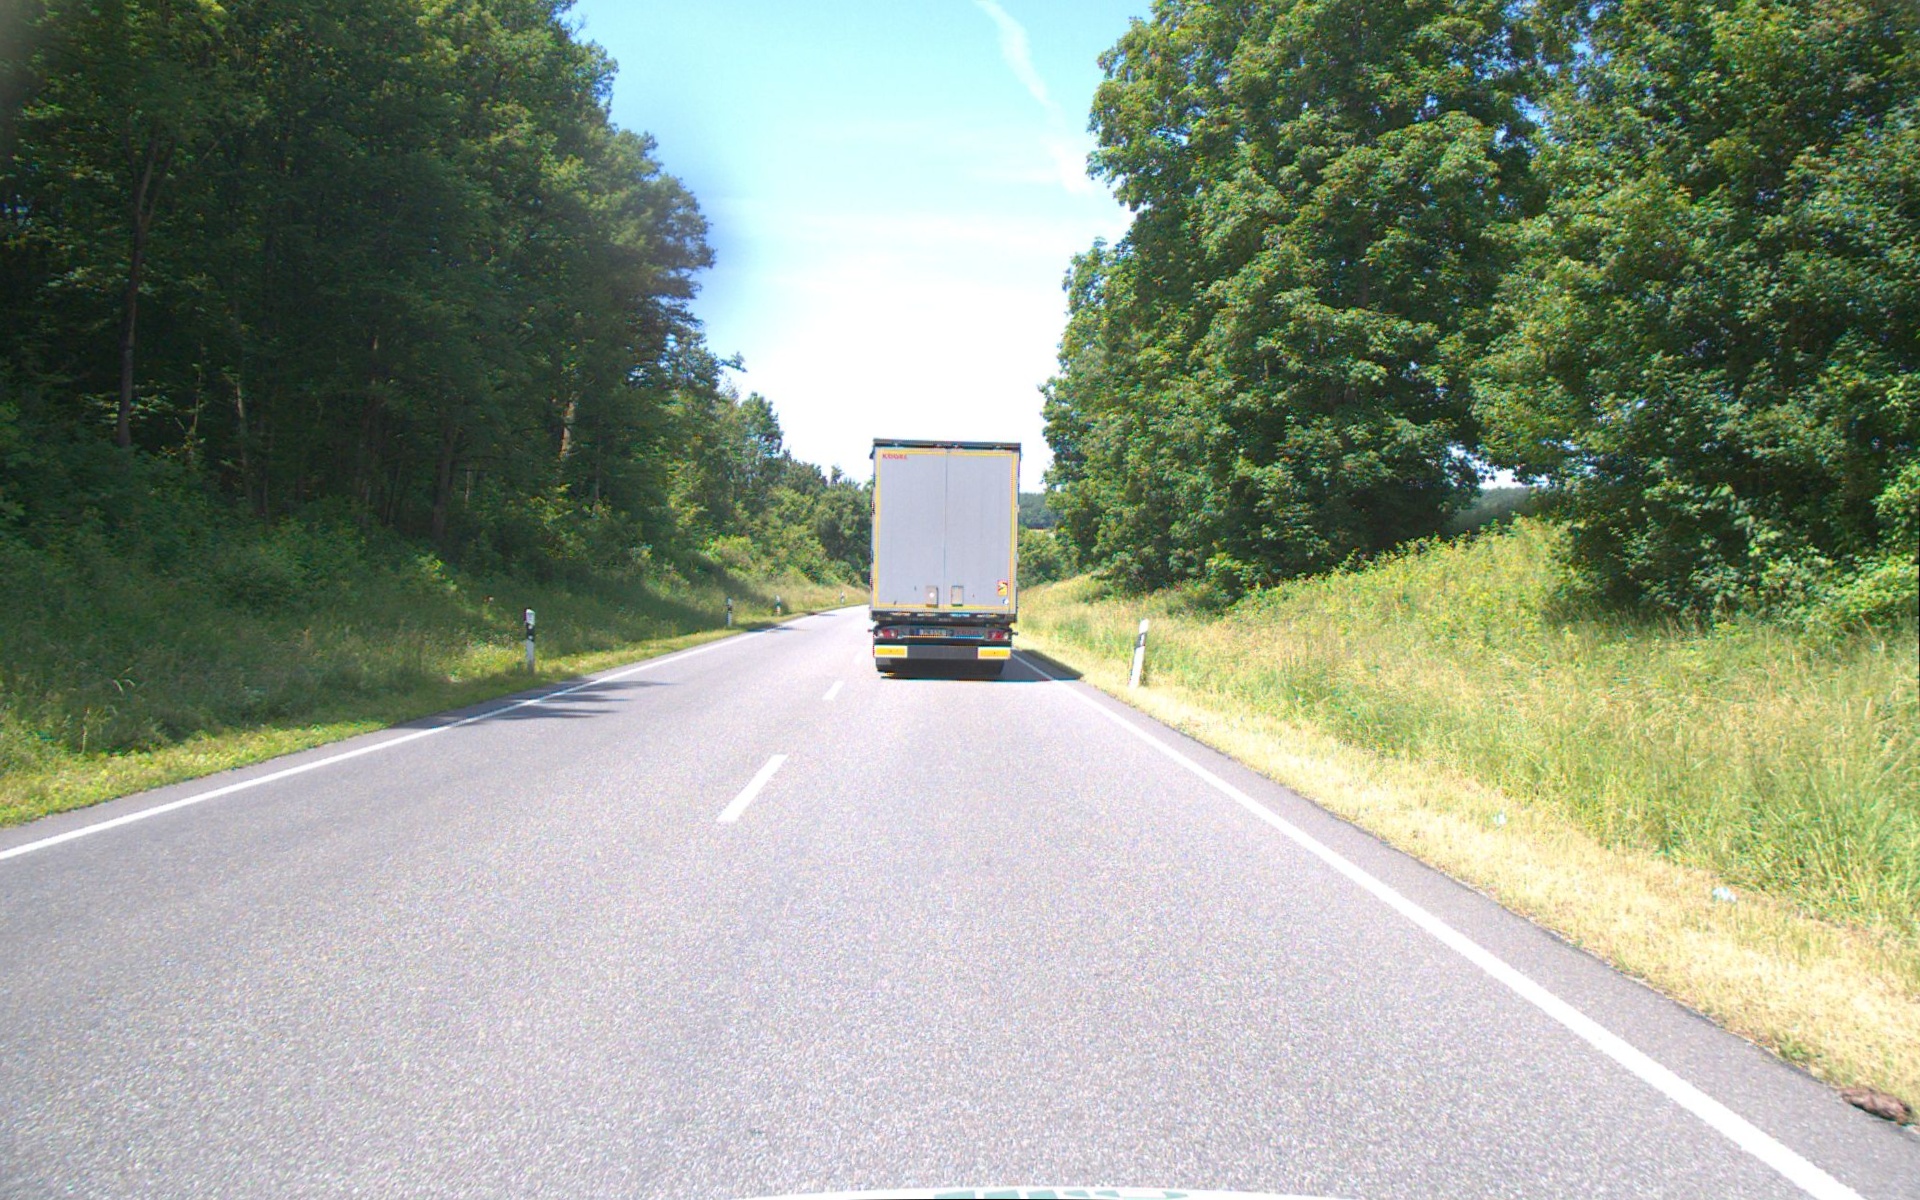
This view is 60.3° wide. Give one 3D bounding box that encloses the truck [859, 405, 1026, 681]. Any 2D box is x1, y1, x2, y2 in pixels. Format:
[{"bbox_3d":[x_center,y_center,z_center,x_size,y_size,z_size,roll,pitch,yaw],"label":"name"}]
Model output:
[{"bbox_3d":[-0.436,-0.993,33.648,2.760,4.612,11.764,1,0,-1],"label":"truck"}]
